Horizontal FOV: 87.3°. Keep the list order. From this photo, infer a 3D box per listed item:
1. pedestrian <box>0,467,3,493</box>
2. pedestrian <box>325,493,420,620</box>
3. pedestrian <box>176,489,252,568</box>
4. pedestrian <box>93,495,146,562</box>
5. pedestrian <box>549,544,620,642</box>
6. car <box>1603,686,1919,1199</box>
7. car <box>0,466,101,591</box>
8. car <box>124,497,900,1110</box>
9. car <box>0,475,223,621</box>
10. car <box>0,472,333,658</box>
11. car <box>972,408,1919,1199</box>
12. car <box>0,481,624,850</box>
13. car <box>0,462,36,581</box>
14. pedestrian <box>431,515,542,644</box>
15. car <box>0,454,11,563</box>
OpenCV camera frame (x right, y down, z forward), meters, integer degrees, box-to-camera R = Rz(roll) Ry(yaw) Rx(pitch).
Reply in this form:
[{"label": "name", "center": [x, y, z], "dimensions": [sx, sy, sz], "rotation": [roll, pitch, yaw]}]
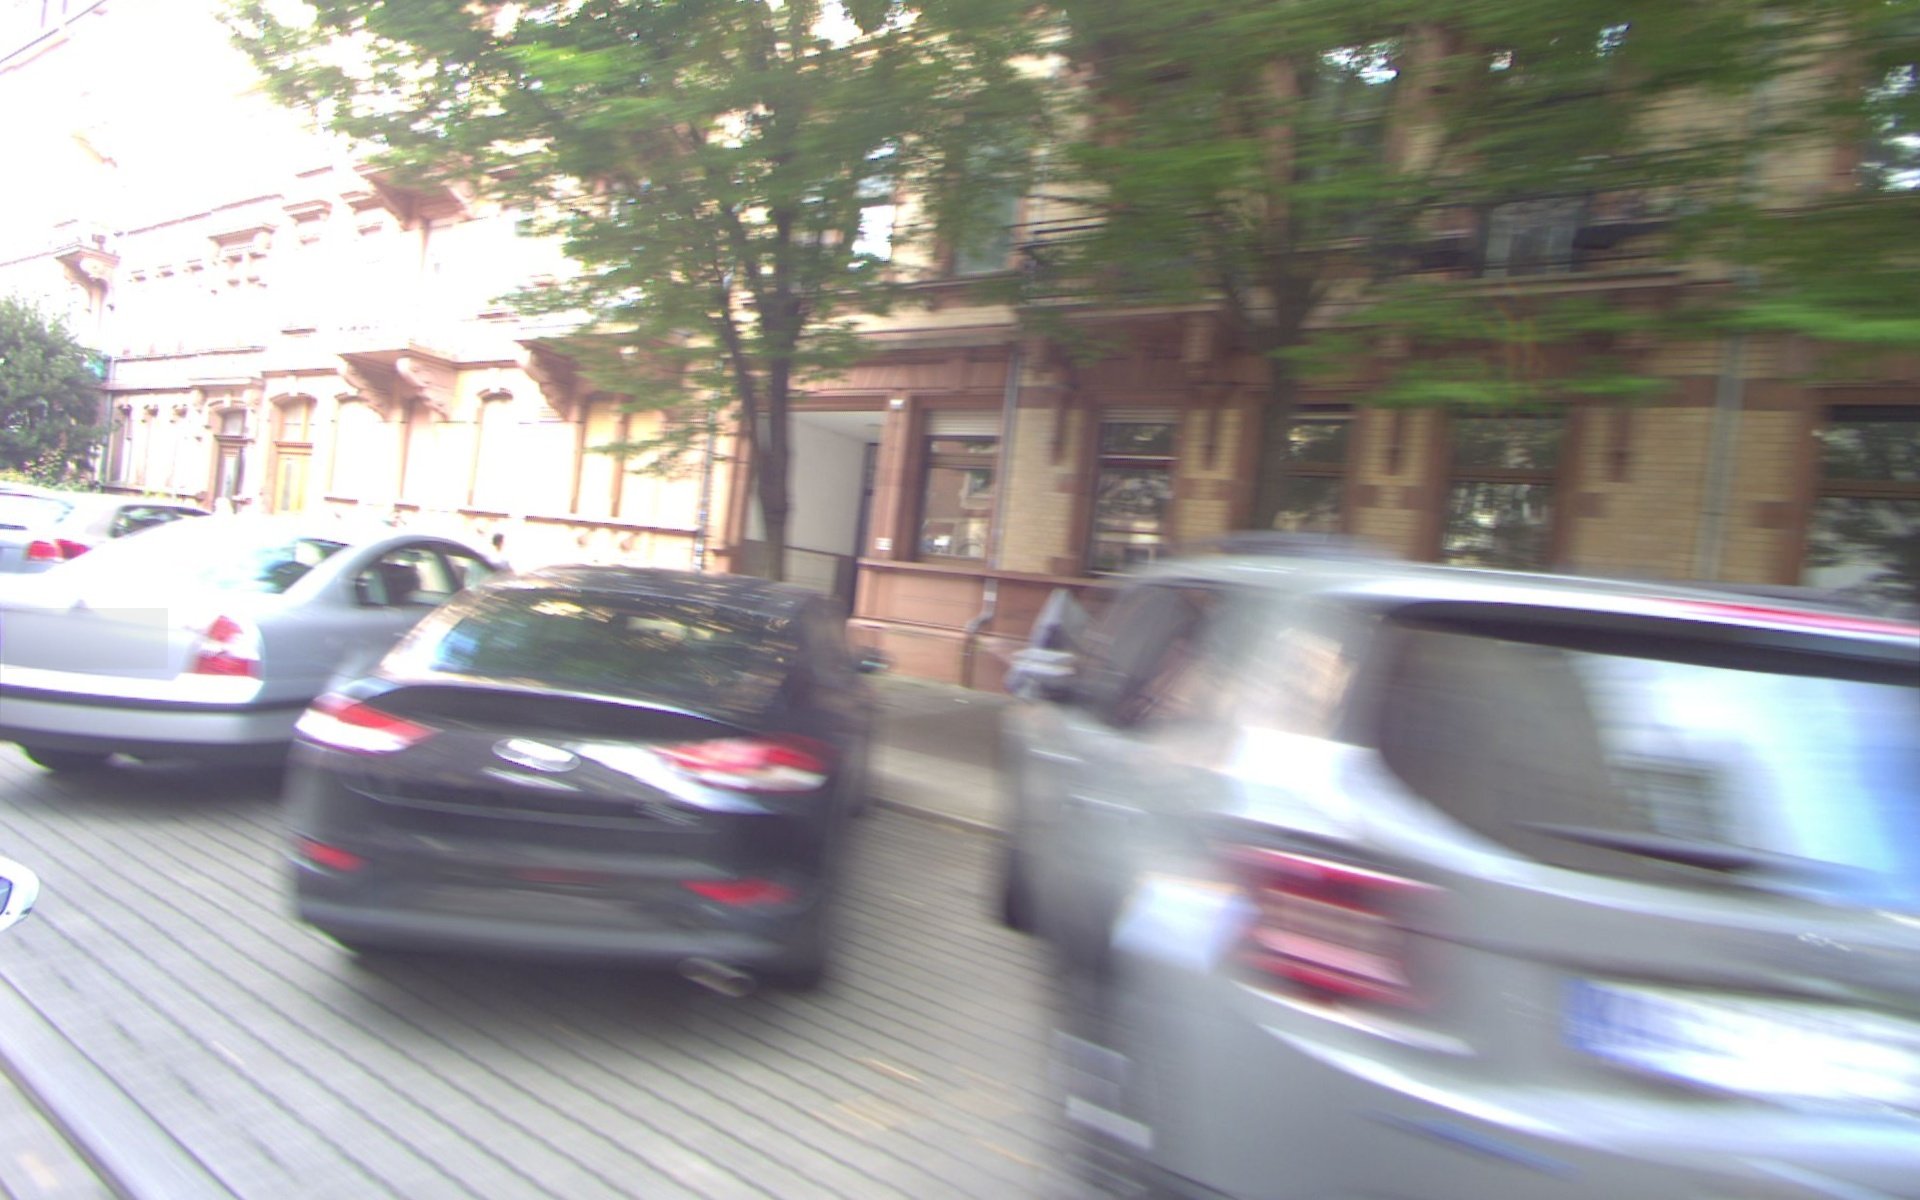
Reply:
[{"label": "pedestrian", "center": [-22.237, -2.243, 22.767], "dimensions": [0.622, 1.679, 0.574], "rotation": [7, 0, 33]}, {"label": "pedestrian", "center": [-8.116, -0.592, 13.904], "dimensions": [0.819, 1.655, 0.731], "rotation": [6, 2, 30]}, {"label": "pedestrian", "center": [-15.687, -1.490, 21.166], "dimensions": [0.798, 1.516, 0.929], "rotation": [7, 2, 26]}, {"label": "pedestrian", "center": [-16.607, -1.406, 19.875], "dimensions": [0.662, 1.236, 0.600], "rotation": [7, 4, 32]}, {"label": "pedestrian", "center": [-5.400, -0.090, 14.489], "dimensions": [0.707, 1.295, 0.570], "rotation": [6, -1, -6]}, {"label": "car", "center": [3.365, 1.140, 1.523], "dimensions": [1.812, 1.539, 4.124], "rotation": [6, -1, -4]}, {"label": "car", "center": [-12.989, -0.974, 12.198], "dimensions": [1.835, 1.569, 3.993], "rotation": [6, 2, -4]}, {"label": "car", "center": [-1.311, 0.547, 4.759], "dimensions": [1.835, 1.435, 4.134], "rotation": [8, 0, -3]}, {"label": "car", "center": [-10.557, -0.635, 11.183], "dimensions": [1.703, 1.470, 3.995], "rotation": [5, 3, 1]}, {"label": "car", "center": [-8.441, -0.405, 10.122], "dimensions": [1.853, 1.480, 3.995], "rotation": [5, 2, -3]}, {"label": "car", "center": [1.145, 0.726, 3.257], "dimensions": [1.819, 1.720, 3.997], "rotation": [7, 1, -2]}, {"label": "car", "center": [-3.959, 0.202, 6.640], "dimensions": [1.759, 1.471, 4.608], "rotation": [6, 2, 1]}, {"label": "car", "center": [-15.185, -1.247, 13.440], "dimensions": [1.805, 1.763, 3.998], "rotation": [6, 1, 2]}, {"label": "pedestrian", "center": [-6.192, -0.267, 13.204], "dimensions": [0.986, 1.521, 0.719], "rotation": [7, 1, -6]}, {"label": "car", "center": [-17.213, -1.600, 15.062], "dimensions": [1.722, 1.847, 4.400], "rotation": [6, 2, 1]}]
